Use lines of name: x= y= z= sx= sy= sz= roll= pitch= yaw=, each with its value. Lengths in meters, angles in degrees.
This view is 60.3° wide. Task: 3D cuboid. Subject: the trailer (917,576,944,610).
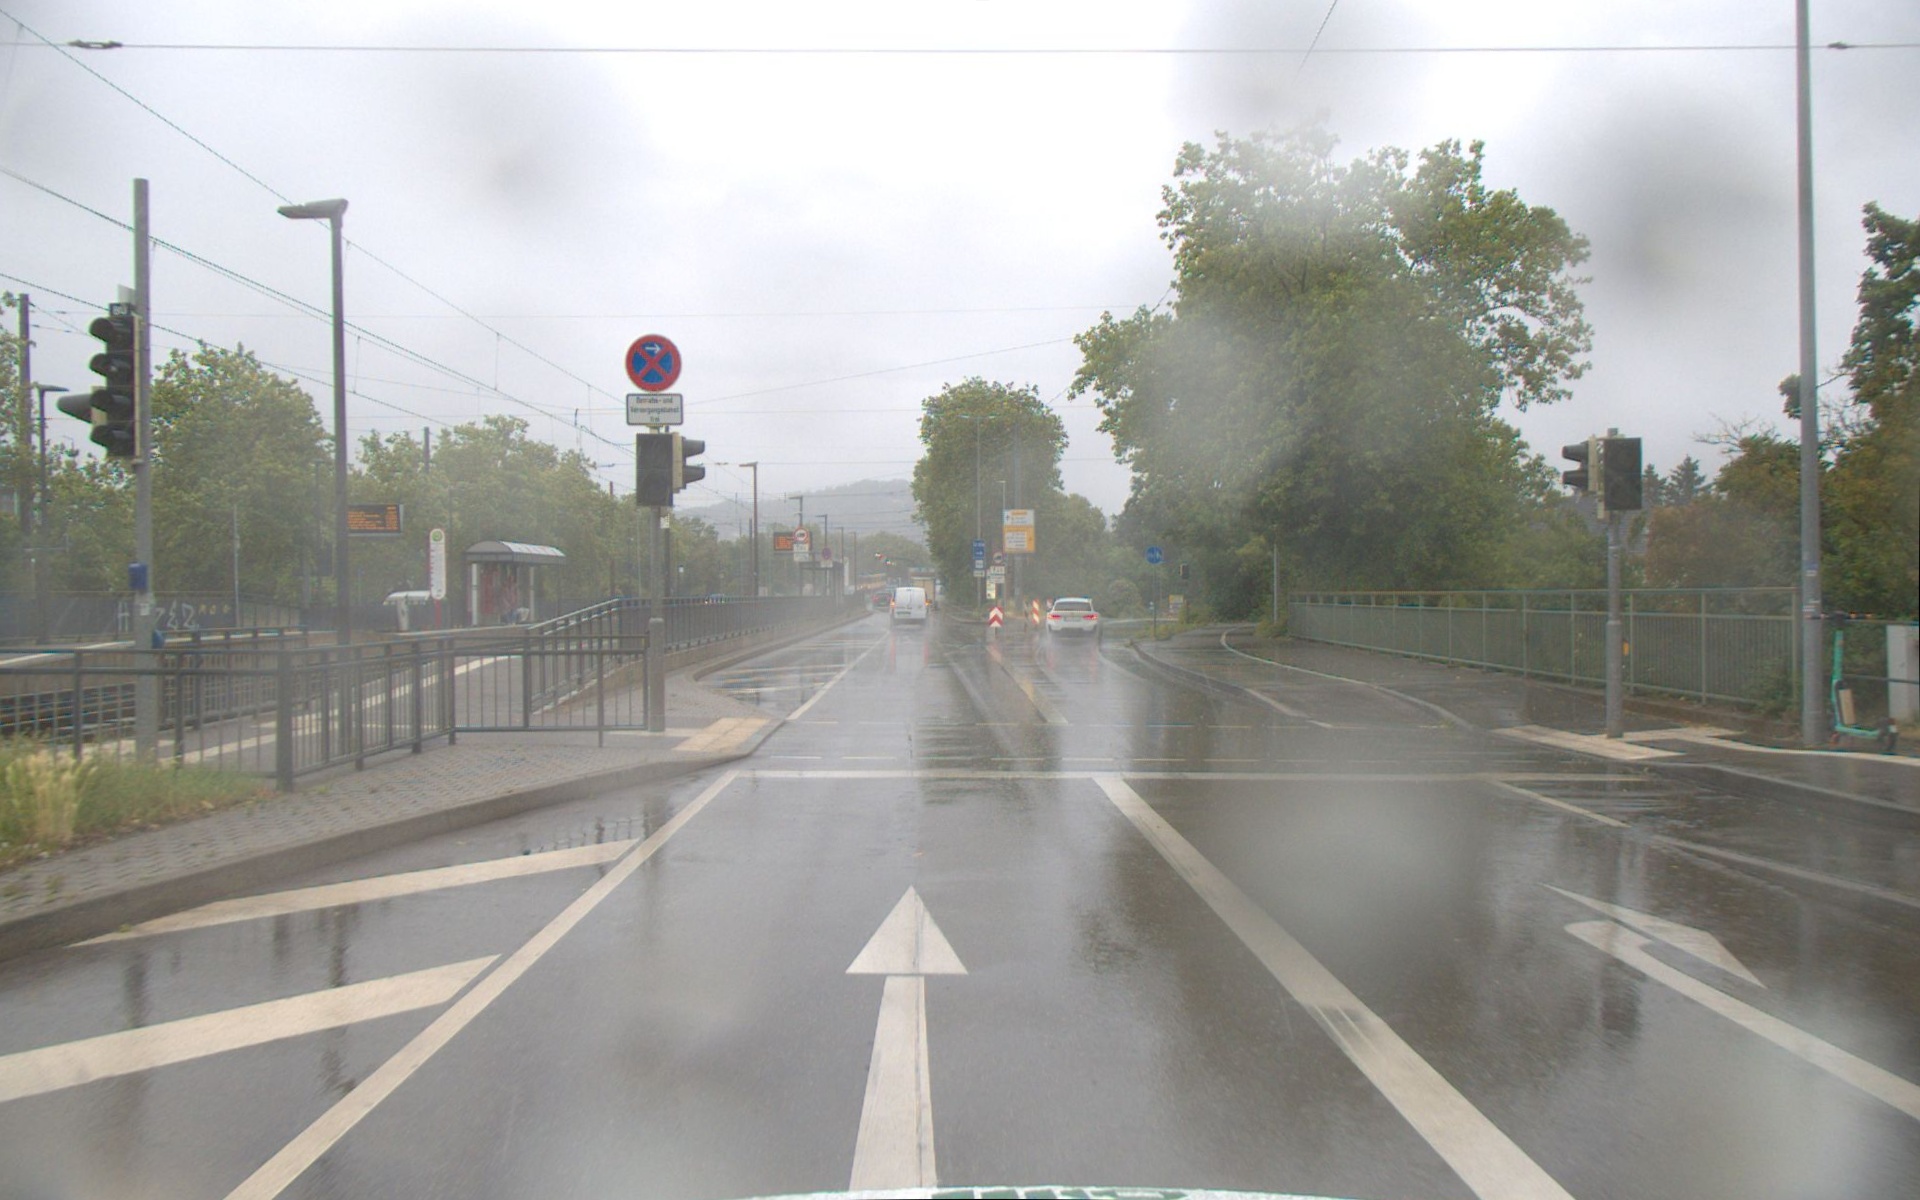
trailer: x=-2.484 y=-0.533 z=139.785 sx=2.121 sy=2.806 sz=5.676 roll=0 pitch=0 yaw=0

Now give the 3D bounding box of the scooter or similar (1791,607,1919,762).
scooter or similar: x=8.225 y=0.723 z=14.842 sx=0.743 sy=1.315 sz=1.647 roll=0 pitch=0 yaw=2

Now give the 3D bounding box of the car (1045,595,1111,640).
car: x=3.993 y=0.548 z=55.340 sx=1.848 sy=1.456 sz=4.003 roll=0 pitch=0 yaw=9

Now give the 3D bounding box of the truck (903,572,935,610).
truck: x=-4.311 y=-0.879 z=170.958 sx=2.721 sy=3.769 sz=9.841 roll=0 pitch=0 yaw=-5

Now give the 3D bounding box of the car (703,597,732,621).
car: x=-21.392 y=0.819 z=146.077 sx=1.953 sy=2.049 sz=3.999 roll=0 pitch=0 yaw=-1

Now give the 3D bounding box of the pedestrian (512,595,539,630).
pedestrian: x=-16.678 y=0.480 z=63.542 sx=0.814 sy=1.339 sz=0.858 roll=1 pitch=0 yaw=-1

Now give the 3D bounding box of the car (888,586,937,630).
car: x=-2.092 y=0.332 z=73.707 sx=1.952 sy=1.881 sz=4.001 roll=0 pitch=0 yaw=2
